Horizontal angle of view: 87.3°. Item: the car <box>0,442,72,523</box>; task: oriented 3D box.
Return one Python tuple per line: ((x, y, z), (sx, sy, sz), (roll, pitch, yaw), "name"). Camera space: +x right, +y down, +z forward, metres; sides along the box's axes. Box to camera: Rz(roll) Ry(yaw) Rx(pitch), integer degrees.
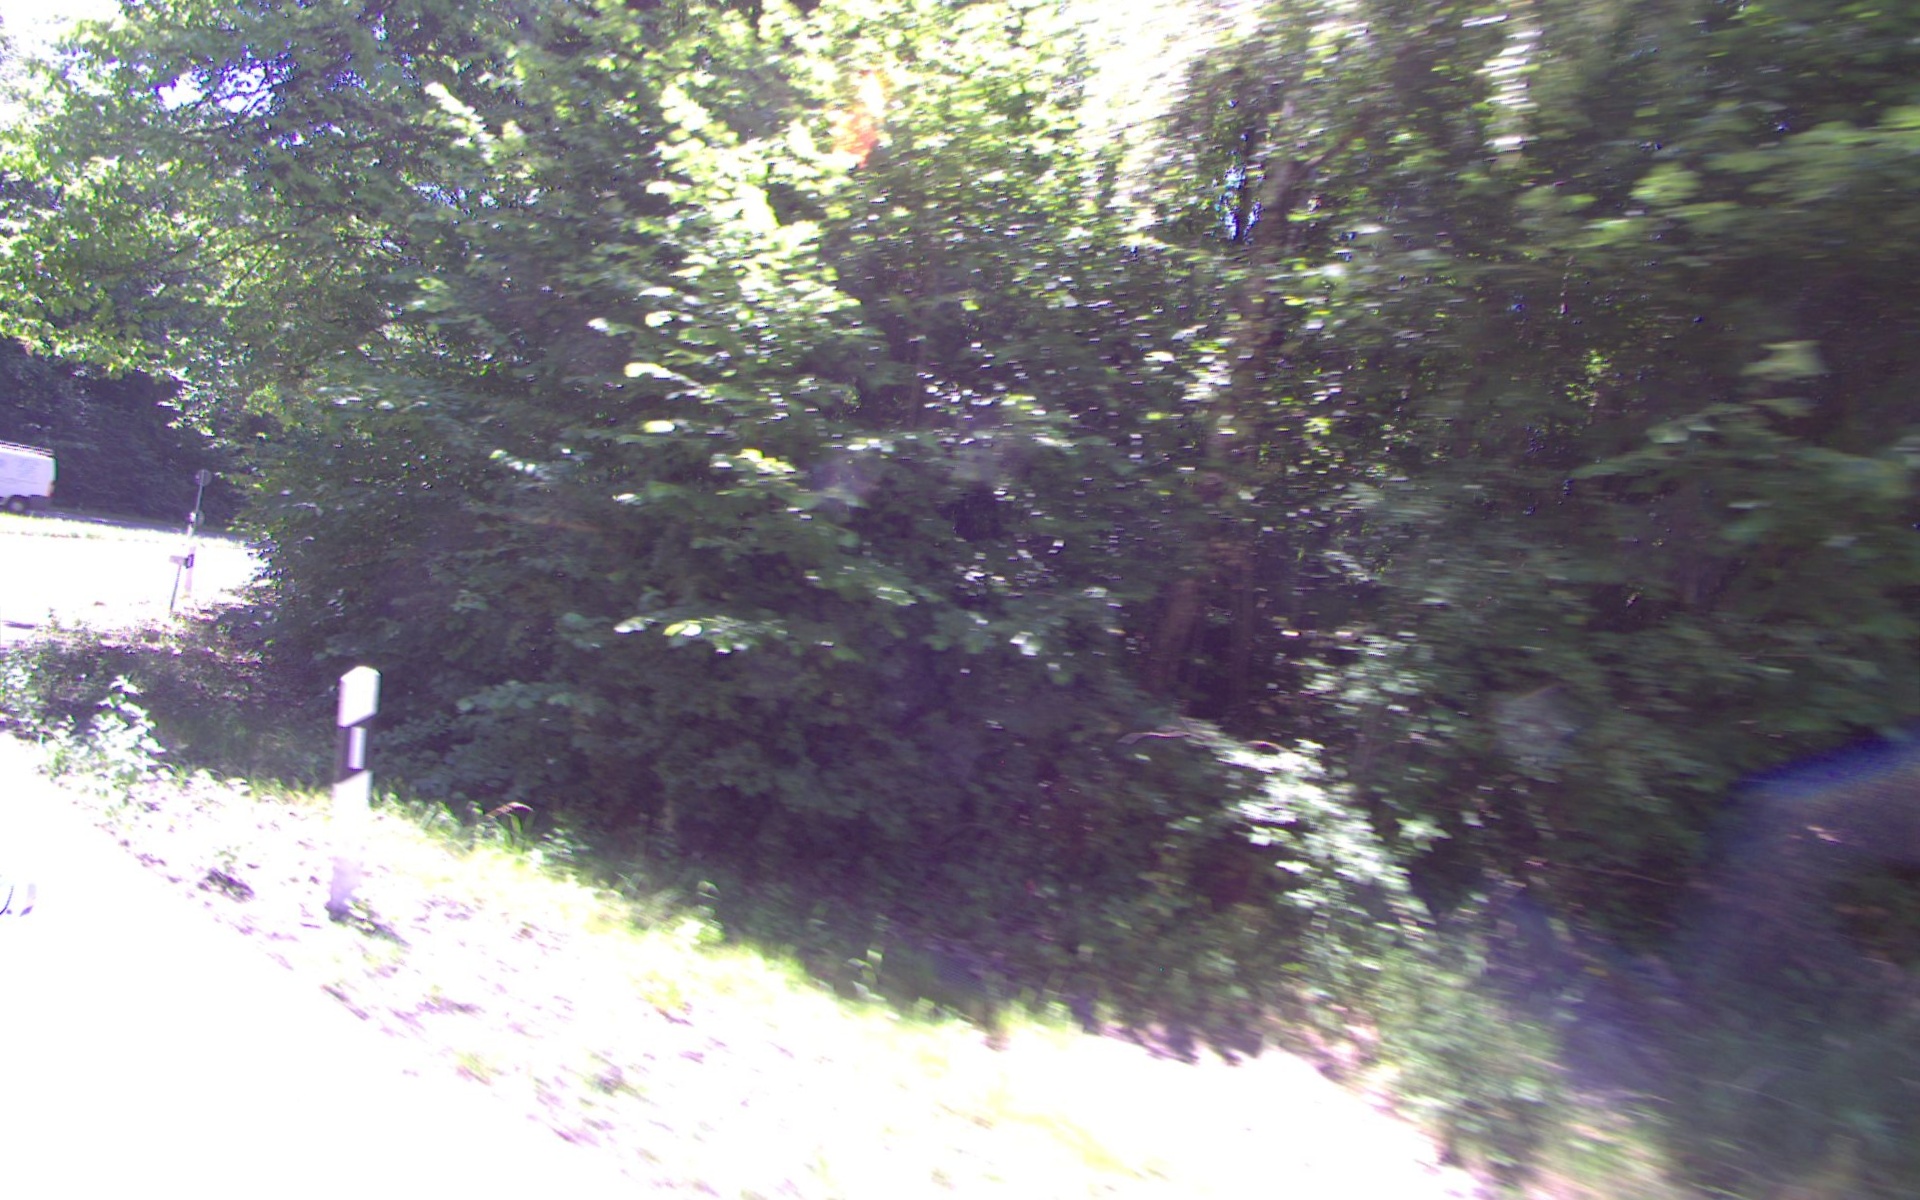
((-32.951, -4.212, 32.926), (2.030, 2.373, 5.431), (11, 0, 13), "car")
